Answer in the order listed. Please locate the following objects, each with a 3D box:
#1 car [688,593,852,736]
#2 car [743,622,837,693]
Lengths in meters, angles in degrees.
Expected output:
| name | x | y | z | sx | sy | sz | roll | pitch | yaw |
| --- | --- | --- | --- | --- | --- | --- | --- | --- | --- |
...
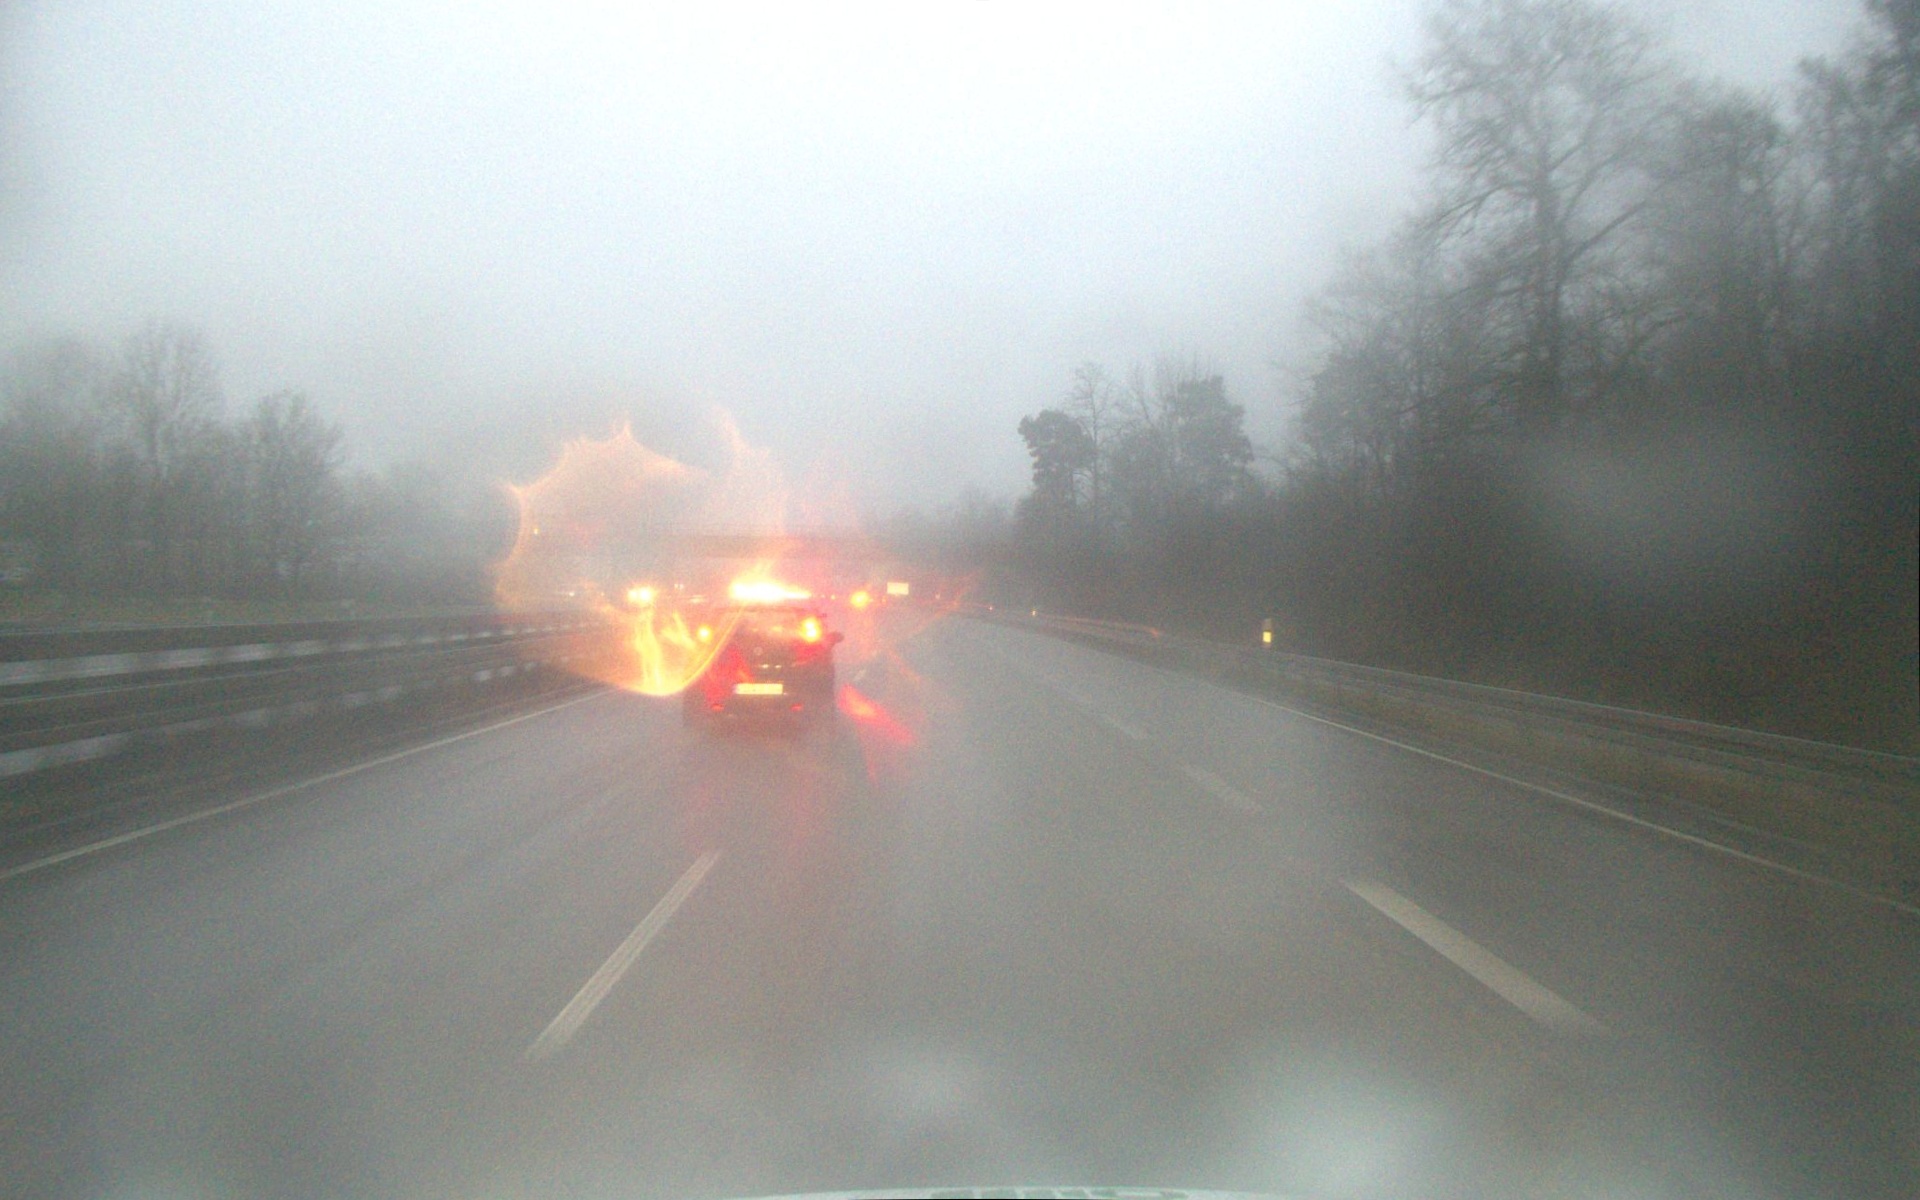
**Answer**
| name | x | y | z | sx | sy | sz | roll | pitch | yaw |
| --- | --- | --- | --- | --- | --- | --- | --- | --- | --- |
| car | -2.172 | 0.690 | 19.639 | 1.496 | 1.440 | 3.478 | 3 | 0 | -1 |
| car | -3.979 | 1.333 | 39.350 | 1.739 | 1.561 | 4.702 | -1 | -1 | 0 |
